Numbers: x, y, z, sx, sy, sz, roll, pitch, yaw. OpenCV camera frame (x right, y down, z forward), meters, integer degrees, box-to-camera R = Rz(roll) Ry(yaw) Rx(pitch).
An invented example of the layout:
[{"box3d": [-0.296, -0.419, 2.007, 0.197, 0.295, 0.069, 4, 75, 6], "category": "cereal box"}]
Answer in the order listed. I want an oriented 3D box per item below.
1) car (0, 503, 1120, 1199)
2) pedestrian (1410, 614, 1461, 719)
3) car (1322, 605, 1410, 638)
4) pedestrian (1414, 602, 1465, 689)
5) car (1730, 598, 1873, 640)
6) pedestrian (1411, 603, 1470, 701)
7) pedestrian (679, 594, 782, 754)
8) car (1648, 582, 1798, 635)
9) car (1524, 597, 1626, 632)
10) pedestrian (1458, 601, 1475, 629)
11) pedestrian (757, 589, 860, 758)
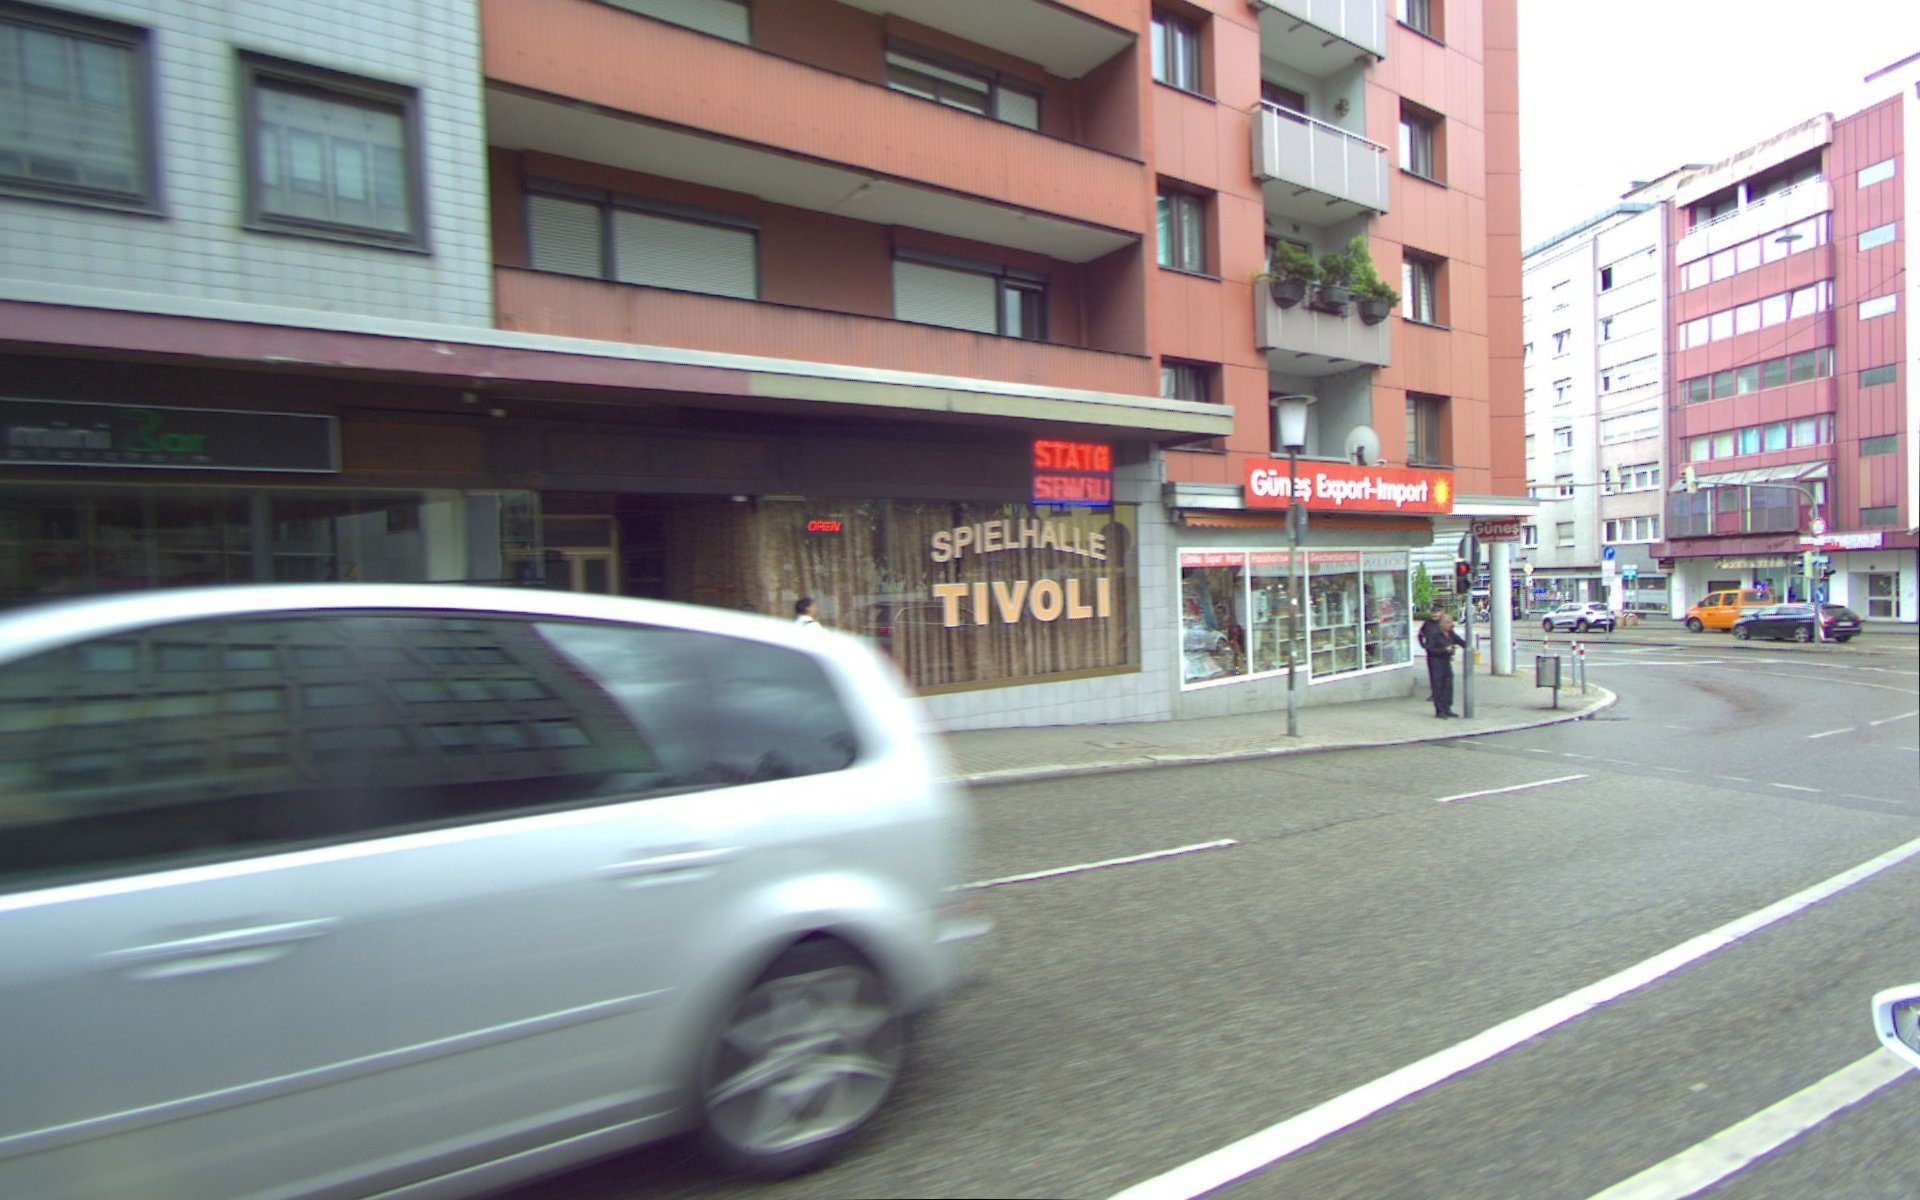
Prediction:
[{"box3d": [-1.658, 0.691, 2.780, 4.134, 1.613, 1.724, 2, -3, -35], "category": "car"}, {"box3d": [8.047, 1.103, 16.993, 0.618, 1.720, 0.550, 1, 0, -37], "category": "pedestrian"}, {"box3d": [20.990, 1.096, 52.171, 1.965, 1.577, 4.726, -1, 0, -12], "category": "car"}, {"box3d": [10.440, 0.979, 21.899, 0.813, 1.856, 0.724, 1, 0, 10], "category": "pedestrian"}, {"box3d": [32.303, 0.730, 38.746, 1.961, 1.506, 4.236, 0, -1, -1], "category": "car"}, {"box3d": [9.508, 1.009, 19.885, 0.836, 1.873, 0.755, 1, 0, -38], "category": "pedestrian"}, {"box3d": [-2.443, 0.750, 10.668, 0.718, 1.582, 0.819, 1, 2, -42], "category": "pedestrian"}, {"box3d": [35.434, 0.343, 46.877, 2.210, 2.258, 5.416, 2, 1, -11], "category": "car"}, {"box3d": [31.215, 0.705, 51.166, 1.895, 1.535, 4.656, 3, 1, -7], "category": "car"}, {"box3d": [37.481, 1.124, 74.344, 0.847, 2.040, 0.805, 1, 0, -37], "category": "pedestrian"}, {"box3d": [-1.644, 0.757, 10.869, 0.718, 1.712, 0.819, 1, 2, -42], "category": "pedestrian"}]
